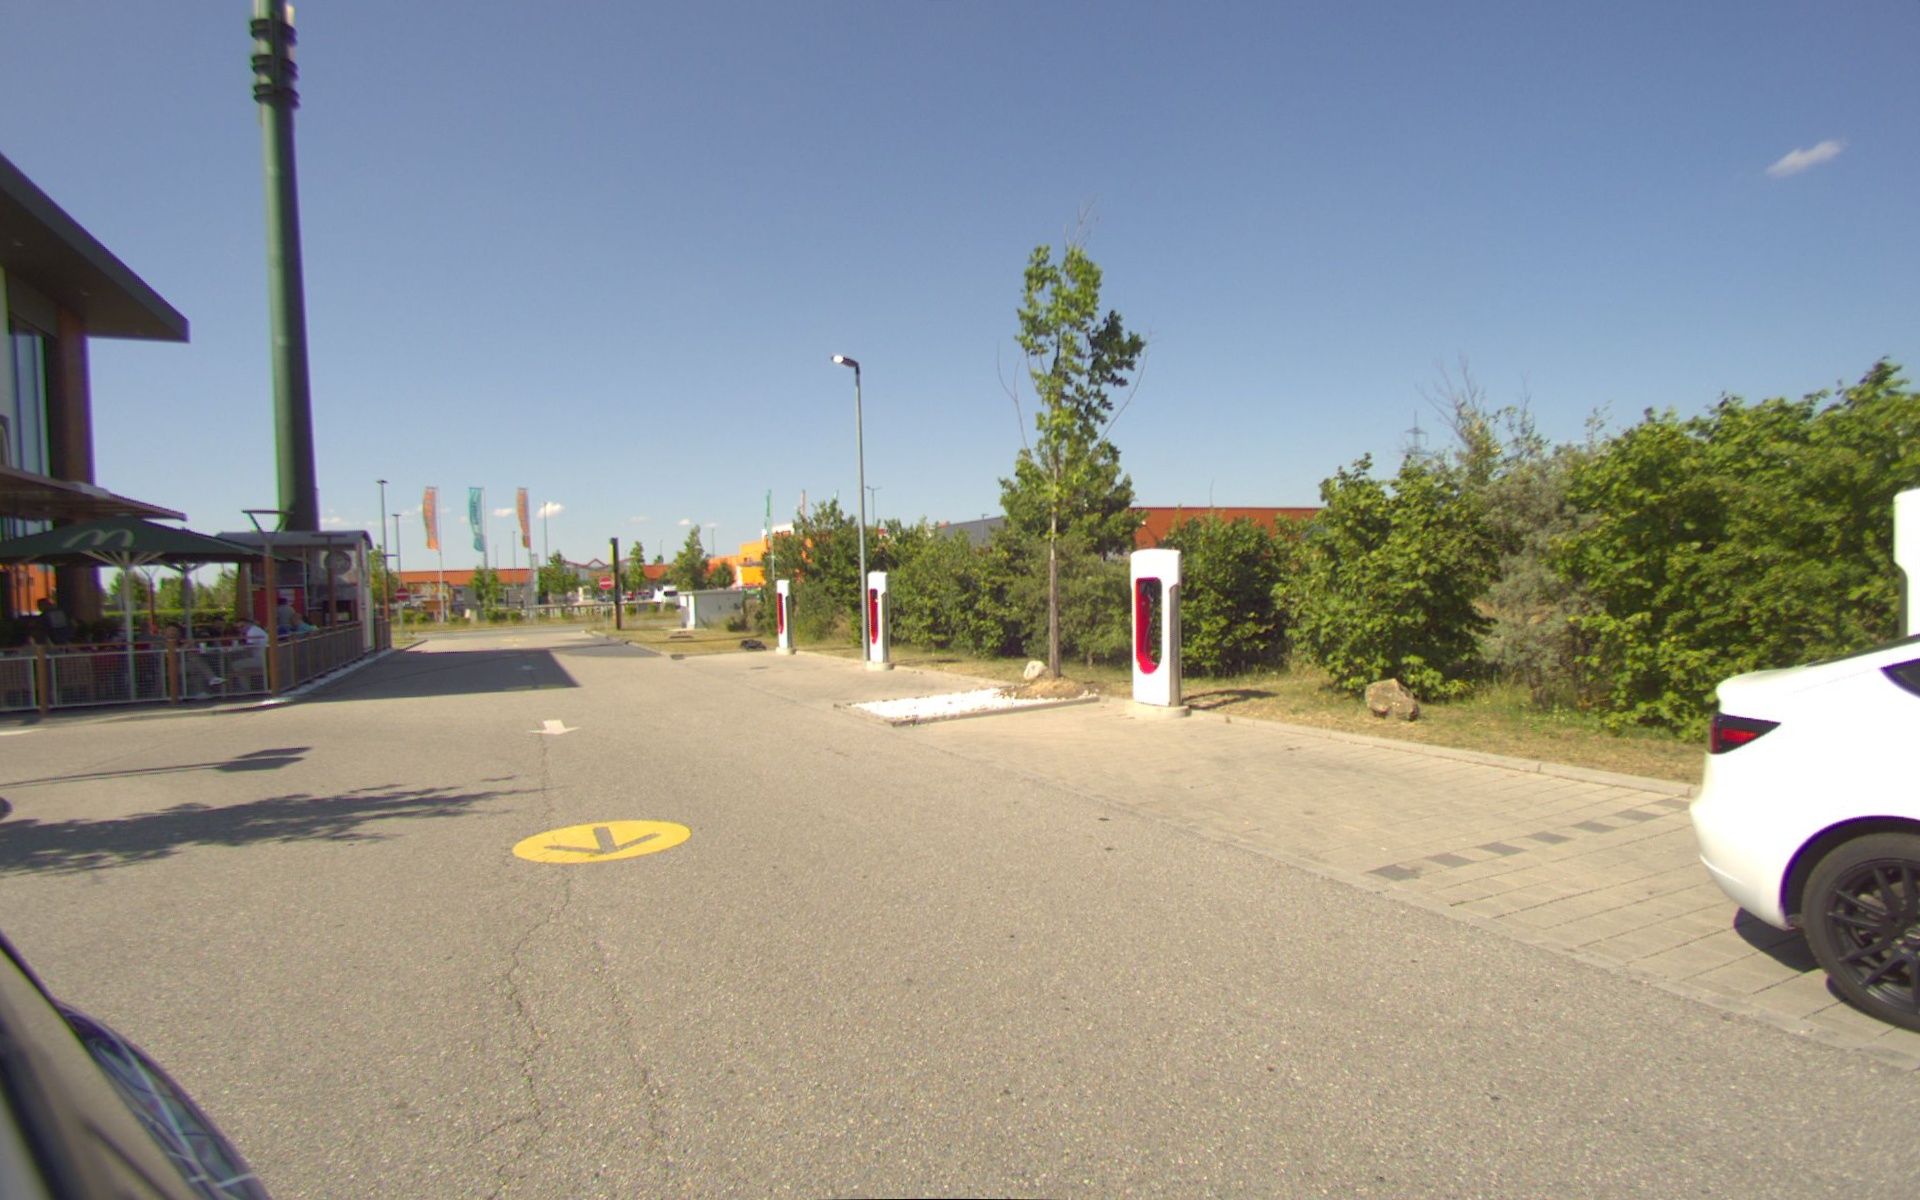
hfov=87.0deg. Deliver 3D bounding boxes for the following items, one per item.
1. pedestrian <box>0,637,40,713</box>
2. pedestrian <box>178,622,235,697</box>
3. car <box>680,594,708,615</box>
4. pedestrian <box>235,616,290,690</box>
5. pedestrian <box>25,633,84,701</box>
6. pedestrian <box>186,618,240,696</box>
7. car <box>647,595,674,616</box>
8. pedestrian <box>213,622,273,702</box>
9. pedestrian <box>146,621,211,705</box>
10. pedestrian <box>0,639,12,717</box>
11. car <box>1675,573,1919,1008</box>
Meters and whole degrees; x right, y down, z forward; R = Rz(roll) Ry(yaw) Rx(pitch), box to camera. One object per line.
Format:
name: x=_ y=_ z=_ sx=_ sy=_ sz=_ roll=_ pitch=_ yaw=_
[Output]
pedestrian: x=-14.773 y=1.157 z=15.682 sx=0.624 sy=1.132 sz=0.526 roll=-3 pitch=0 yaw=-29
pedestrian: x=-13.383 y=1.048 z=17.990 sx=0.703 sy=1.267 sz=0.526 roll=-3 pitch=0 yaw=-29
car: x=-27.000 y=0.467 z=102.620 sx=1.965 sy=2.029 sz=4.013 roll=-2 pitch=0 yaw=-25
pedestrian: x=-12.637 y=0.952 z=18.355 sx=0.717 sy=1.267 sz=0.575 roll=-3 pitch=0 yaw=-30
pedestrian: x=-15.912 y=1.165 z=17.799 sx=0.563 sy=1.109 sz=0.658 roll=-3 pitch=0 yaw=-26
pedestrian: x=-12.692 y=0.953 z=17.208 sx=0.624 sy=1.267 sz=0.526 roll=-3 pitch=0 yaw=-29
car: x=-29.833 y=0.569 z=100.858 sx=1.965 sy=2.029 sz=4.013 roll=-2 pitch=0 yaw=-25
pedestrian: x=-11.987 y=1.021 z=16.936 sx=0.717 sy=1.267 sz=0.575 roll=-3 pitch=0 yaw=-30
pedestrian: x=-12.521 y=0.996 z=16.237 sx=0.703 sy=1.267 sz=0.526 roll=-3 pitch=0 yaw=-29
pedestrian: x=-14.596 y=1.174 z=15.009 sx=0.624 sy=1.132 sz=0.526 roll=-3 pitch=0 yaw=-29
car: x=4.511 y=0.585 z=2.247 sx=1.791 sy=1.388 sz=4.463 roll=-3 pitch=0 yaw=-23
